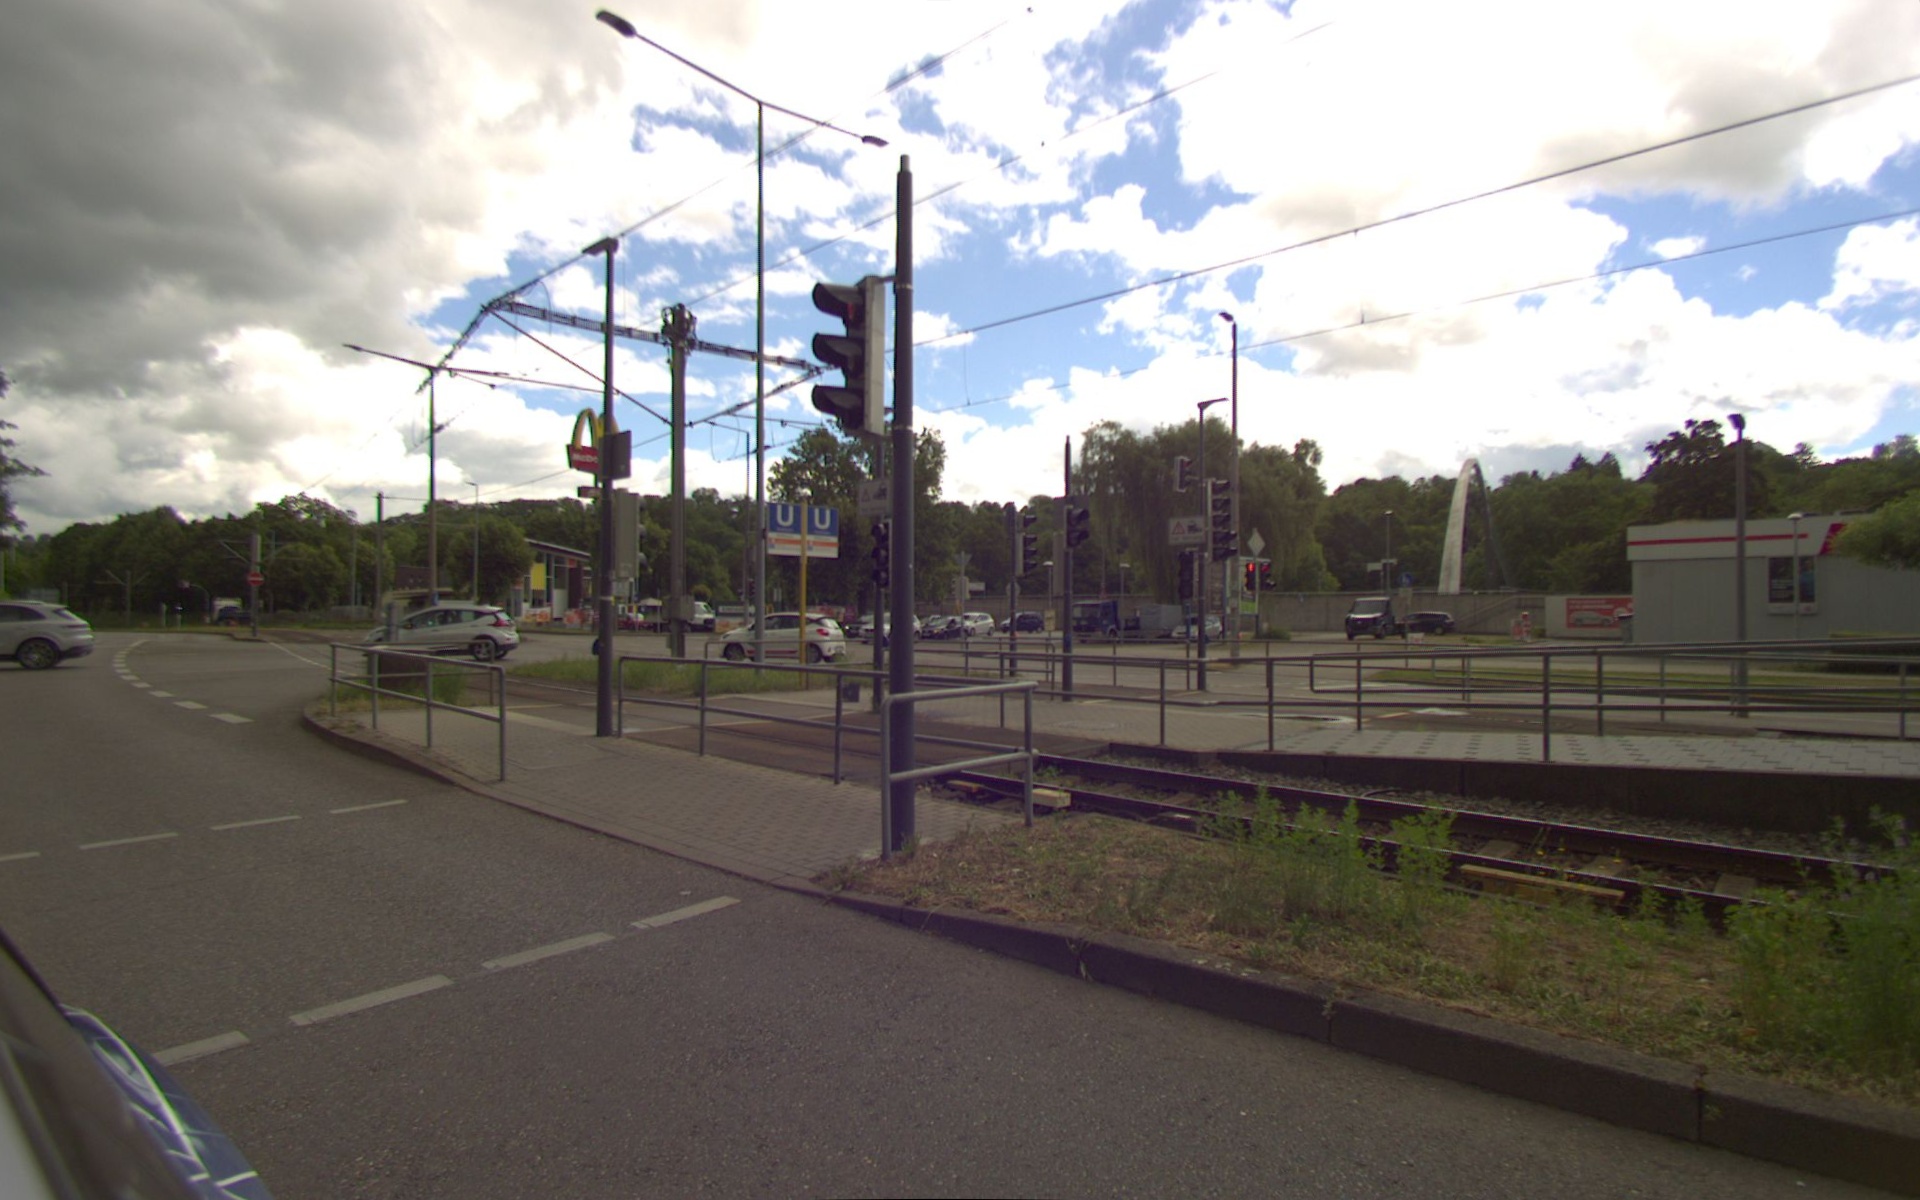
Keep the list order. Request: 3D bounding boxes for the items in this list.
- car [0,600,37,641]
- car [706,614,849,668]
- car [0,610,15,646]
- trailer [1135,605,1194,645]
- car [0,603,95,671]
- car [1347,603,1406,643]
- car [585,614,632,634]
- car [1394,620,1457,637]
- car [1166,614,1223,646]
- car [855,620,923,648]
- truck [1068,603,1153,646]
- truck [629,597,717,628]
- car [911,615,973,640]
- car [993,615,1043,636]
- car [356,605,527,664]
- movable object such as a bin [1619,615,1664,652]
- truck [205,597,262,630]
[{"bbox_3d":[-43.444,0.920,46.015,1.781,1.839,4.008,1,-1,-37],"label":"car"},{"bbox_3d":[-5.273,1.151,29.352,3.795,1.465,1.623,0,-1,17],"label":"car"},{"bbox_3d":[-39.490,1.081,40.776,1.694,1.429,4.007,3,-2,-39],"label":"car"},{"bbox_3d":[12.315,1.545,60.772,1.559,2.275,4.333,0,-3,40],"label":"trailer"},{"bbox_3d":[-24.426,0.902,24.783,4.775,1.655,1.681,1,-1,-36],"label":"car"},{"bbox_3d":[22.965,1.284,55.706,1.845,2.067,4.323,0,-2,40],"label":"car"},{"bbox_3d":[-28.696,1.922,82.601,4.000,1.532,1.897,0,-3,42],"label":"car"},{"bbox_3d":[32.073,1.965,69.743,3.874,1.130,1.558,0,-2,31],"label":"car"},{"bbox_3d":[13.555,1.731,58.318,1.753,1.756,3.807,0,-1,38],"label":"car"},{"bbox_3d":[-3.899,1.870,56.213,1.787,1.443,4.377,0,-1,27],"label":"car"},{"bbox_3d":[9.160,1.467,61.188,2.386,2.513,5.745,-1,-1,42],"label":"truck"},{"bbox_3d":[-18.999,0.831,66.926,6.194,1.920,2.566,0,-2,41],"label":"truck"},{"bbox_3d":[-1.056,1.639,61.173,1.790,1.443,4.238,0,-1,31],"label":"car"},{"bbox_3d":[4.606,2.029,80.121,3.581,1.566,1.731,2,-2,-12],"label":"car"},{"bbox_3d":[-14.915,0.990,29.321,4.057,1.653,1.754,1,-1,-10],"label":"car"},{"bbox_3d":[28.888,1.411,42.912,1.088,1.506,1.374,3,-3,-43],"label":"movable object such as a bin"},{"bbox_3d":[-84.740,1.547,117.969,8.696,3.587,3.390,0,-3,41],"label":"truck"}]
